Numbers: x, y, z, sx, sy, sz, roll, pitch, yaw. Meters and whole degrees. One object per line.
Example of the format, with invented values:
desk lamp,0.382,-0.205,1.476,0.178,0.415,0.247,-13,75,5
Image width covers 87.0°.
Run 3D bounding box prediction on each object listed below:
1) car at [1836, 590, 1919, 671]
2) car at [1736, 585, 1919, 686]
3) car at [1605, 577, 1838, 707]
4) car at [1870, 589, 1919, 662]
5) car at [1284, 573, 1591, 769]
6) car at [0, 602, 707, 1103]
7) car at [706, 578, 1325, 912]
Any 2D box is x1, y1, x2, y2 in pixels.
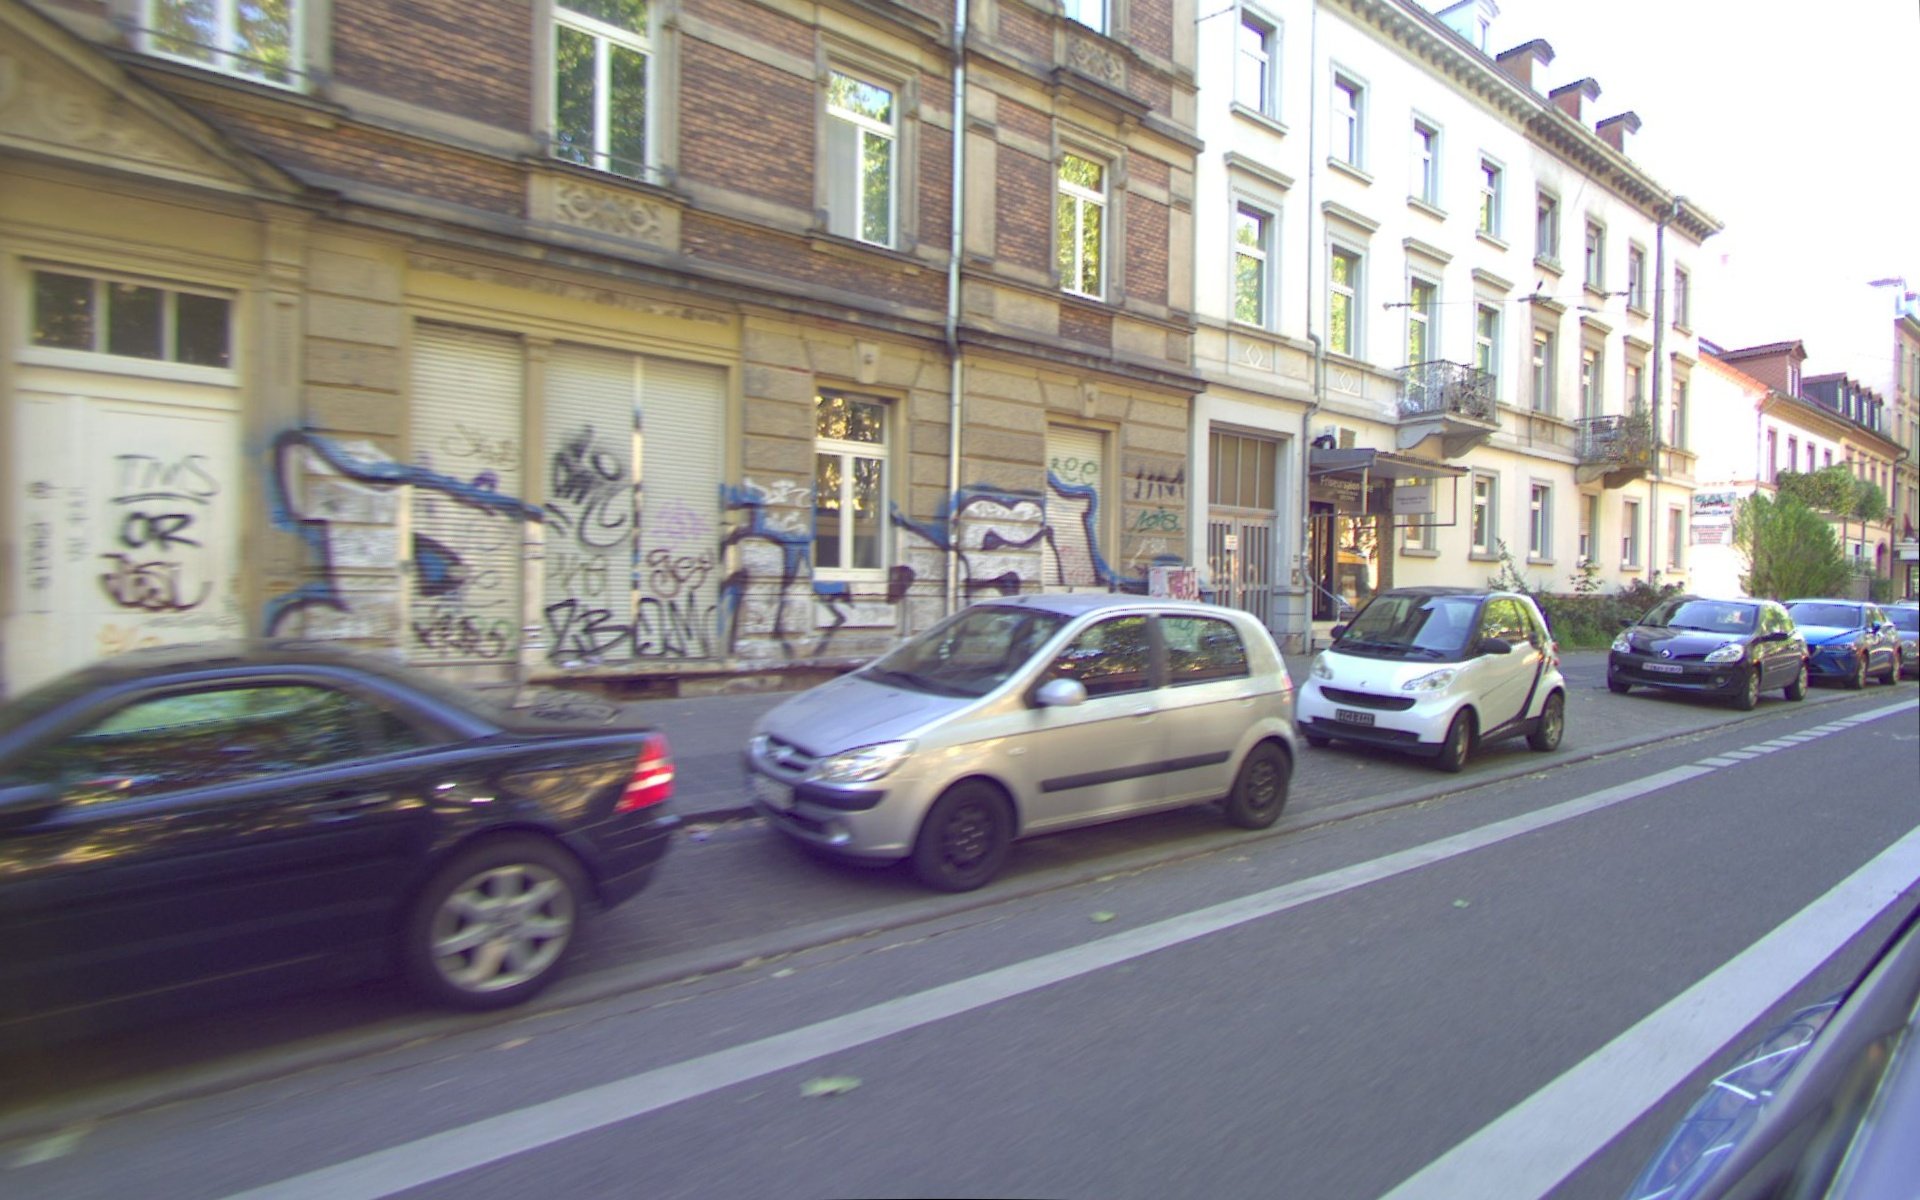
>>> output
car,19.857,0.593,21.195,3.296,1.524,1.544,0,2,-36
car,15.915,0.571,18.427,3.834,1.523,1.732,0,5,-36
car,11.031,0.507,14.588,3.836,1.523,1.636,0,6,-38
car,22.919,0.586,23.629,3.617,1.588,1.731,0,3,-36
car,4.617,0.562,9.712,2.768,1.561,1.515,0,3,-37
car,-2.974,0.714,3.616,3.656,1.288,1.654,0,3,-38
car,0.472,0.644,6.368,3.671,1.469,1.612,0,3,-36
